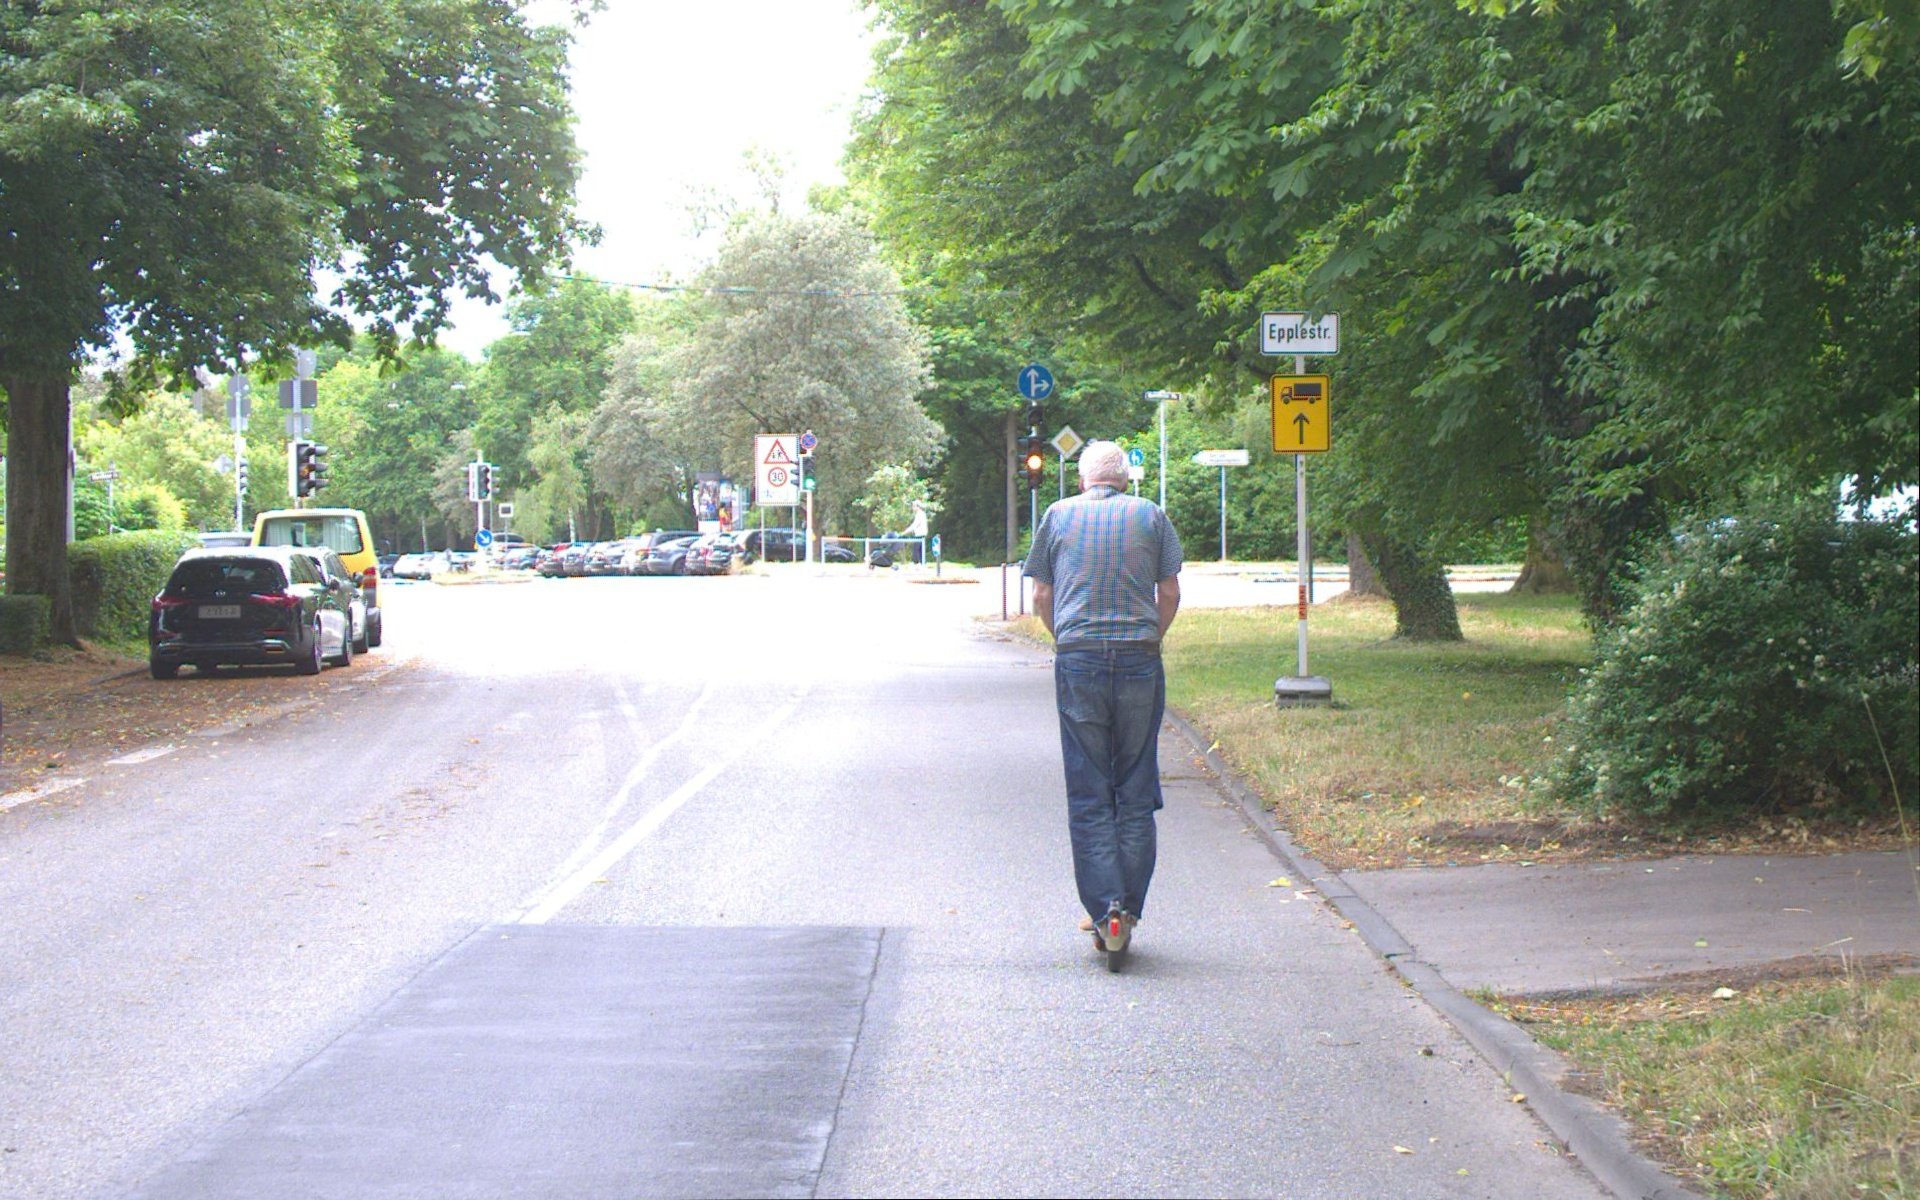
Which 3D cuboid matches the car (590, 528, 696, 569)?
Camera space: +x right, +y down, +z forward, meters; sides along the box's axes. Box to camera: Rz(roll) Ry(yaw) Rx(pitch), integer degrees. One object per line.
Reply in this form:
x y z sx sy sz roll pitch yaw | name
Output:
-12.259 -1.992 132.802 3.986 1.505 1.800 -1 1 -6 | car

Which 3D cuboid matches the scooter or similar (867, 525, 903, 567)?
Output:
-1.919 -1.374 87.803 0.710 1.045 0.787 -1 1 16 | scooter or similar

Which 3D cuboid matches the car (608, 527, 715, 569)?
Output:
-11.393 -1.968 130.955 3.986 1.505 1.800 -1 1 -6 | car

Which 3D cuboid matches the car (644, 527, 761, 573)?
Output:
-9.023 -1.765 120.363 3.986 1.505 1.800 -1 1 -6 | car

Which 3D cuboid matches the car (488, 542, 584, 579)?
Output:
-18.103 -1.685 146.895 3.986 1.505 1.800 -1 1 -6 | car

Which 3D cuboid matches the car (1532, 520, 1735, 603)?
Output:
13.791 -0.803 70.614 3.988 1.551 1.800 1 4 9 | car

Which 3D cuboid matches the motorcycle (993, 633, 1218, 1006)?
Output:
0.498 0.746 12.227 0.673 1.213 1.274 1 1 -3 | motorcycle

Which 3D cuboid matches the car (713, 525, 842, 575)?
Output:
-5.865 -1.606 110.142 3.986 1.505 1.800 -1 1 -6 | car

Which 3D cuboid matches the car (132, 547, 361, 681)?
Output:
-8.058 0.122 39.214 1.891 1.405 4.554 -1 1 -3 | car

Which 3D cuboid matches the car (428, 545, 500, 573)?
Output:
-28.441 -2.340 197.341 3.986 1.505 1.800 -1 1 -6 | car

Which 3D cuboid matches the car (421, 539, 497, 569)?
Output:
-27.050 -2.499 185.709 3.986 1.505 1.800 -1 1 -6 | car

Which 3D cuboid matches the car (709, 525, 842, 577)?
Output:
-5.741 -1.533 106.564 3.986 1.505 1.800 -1 1 -6 | car

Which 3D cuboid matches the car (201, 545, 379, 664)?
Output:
-8.616 0.019 44.484 1.794 1.411 4.190 -1 1 -5 | car

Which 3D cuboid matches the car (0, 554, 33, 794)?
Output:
-6.500 0.489 18.792 1.794 1.405 4.645 -1 1 -3 | car

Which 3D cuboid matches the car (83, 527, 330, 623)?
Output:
-12.717 -0.444 58.232 3.986 1.505 1.801 -1 3 -9 | car

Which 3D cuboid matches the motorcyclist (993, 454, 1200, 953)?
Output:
0.485 0.362 12.468 0.673 1.755 0.639 1 1 -3 | motorcyclist

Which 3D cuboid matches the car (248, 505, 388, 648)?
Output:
-9.305 -0.349 50.094 1.857 1.957 4.505 -1 1 -9 | car

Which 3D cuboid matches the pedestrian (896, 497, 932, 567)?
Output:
-1.178 -1.736 87.556 0.733 1.755 0.661 -1 1 16 | pedestrian
